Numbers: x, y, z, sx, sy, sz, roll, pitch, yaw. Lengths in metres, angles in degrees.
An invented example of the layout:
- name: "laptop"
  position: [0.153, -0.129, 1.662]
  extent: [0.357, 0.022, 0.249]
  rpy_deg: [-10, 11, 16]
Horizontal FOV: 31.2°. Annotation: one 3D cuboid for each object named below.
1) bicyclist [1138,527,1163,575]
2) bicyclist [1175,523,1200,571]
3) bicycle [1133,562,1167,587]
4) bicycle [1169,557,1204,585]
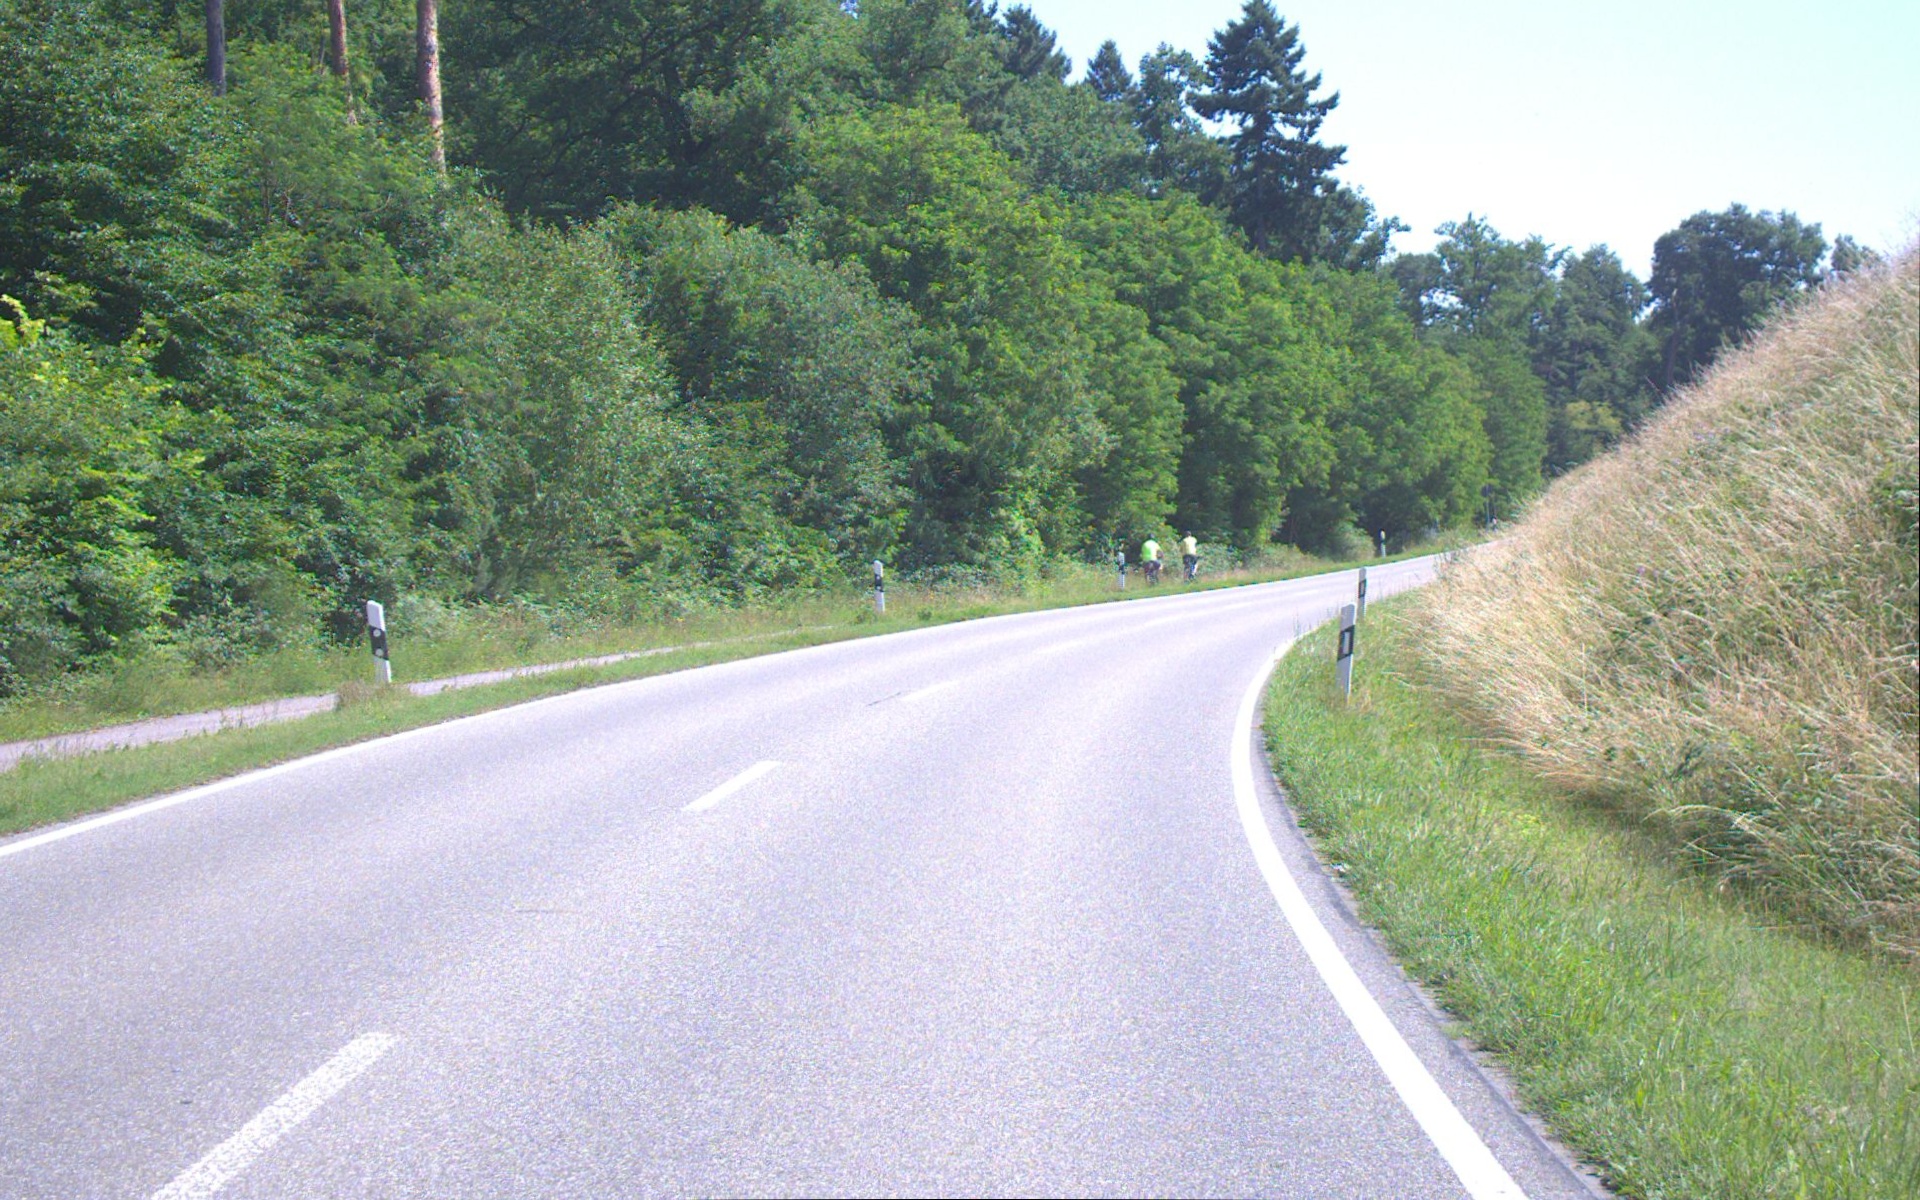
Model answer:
- name: "bicyclist"
  position: [5.685, -1.451, 102.372]
  extent: [0.605, 1.410, 0.702]
  rpy_deg: [1, 0, 14]
- name: "bicyclist"
  position: [6.759, -1.570, 101.980]
  extent: [0.605, 1.410, 0.702]
  rpy_deg: [-1, 1, 14]
- name: "bicycle"
  position: [5.666, -0.767, 102.356]
  extent: [0.619, 0.679, 2.135]
  rpy_deg: [-1, 1, 14]
- name: "bicycle"
  position: [6.719, -0.857, 101.821]
  extent: [0.640, 0.785, 2.135]
  rpy_deg: [-1, 1, 14]
